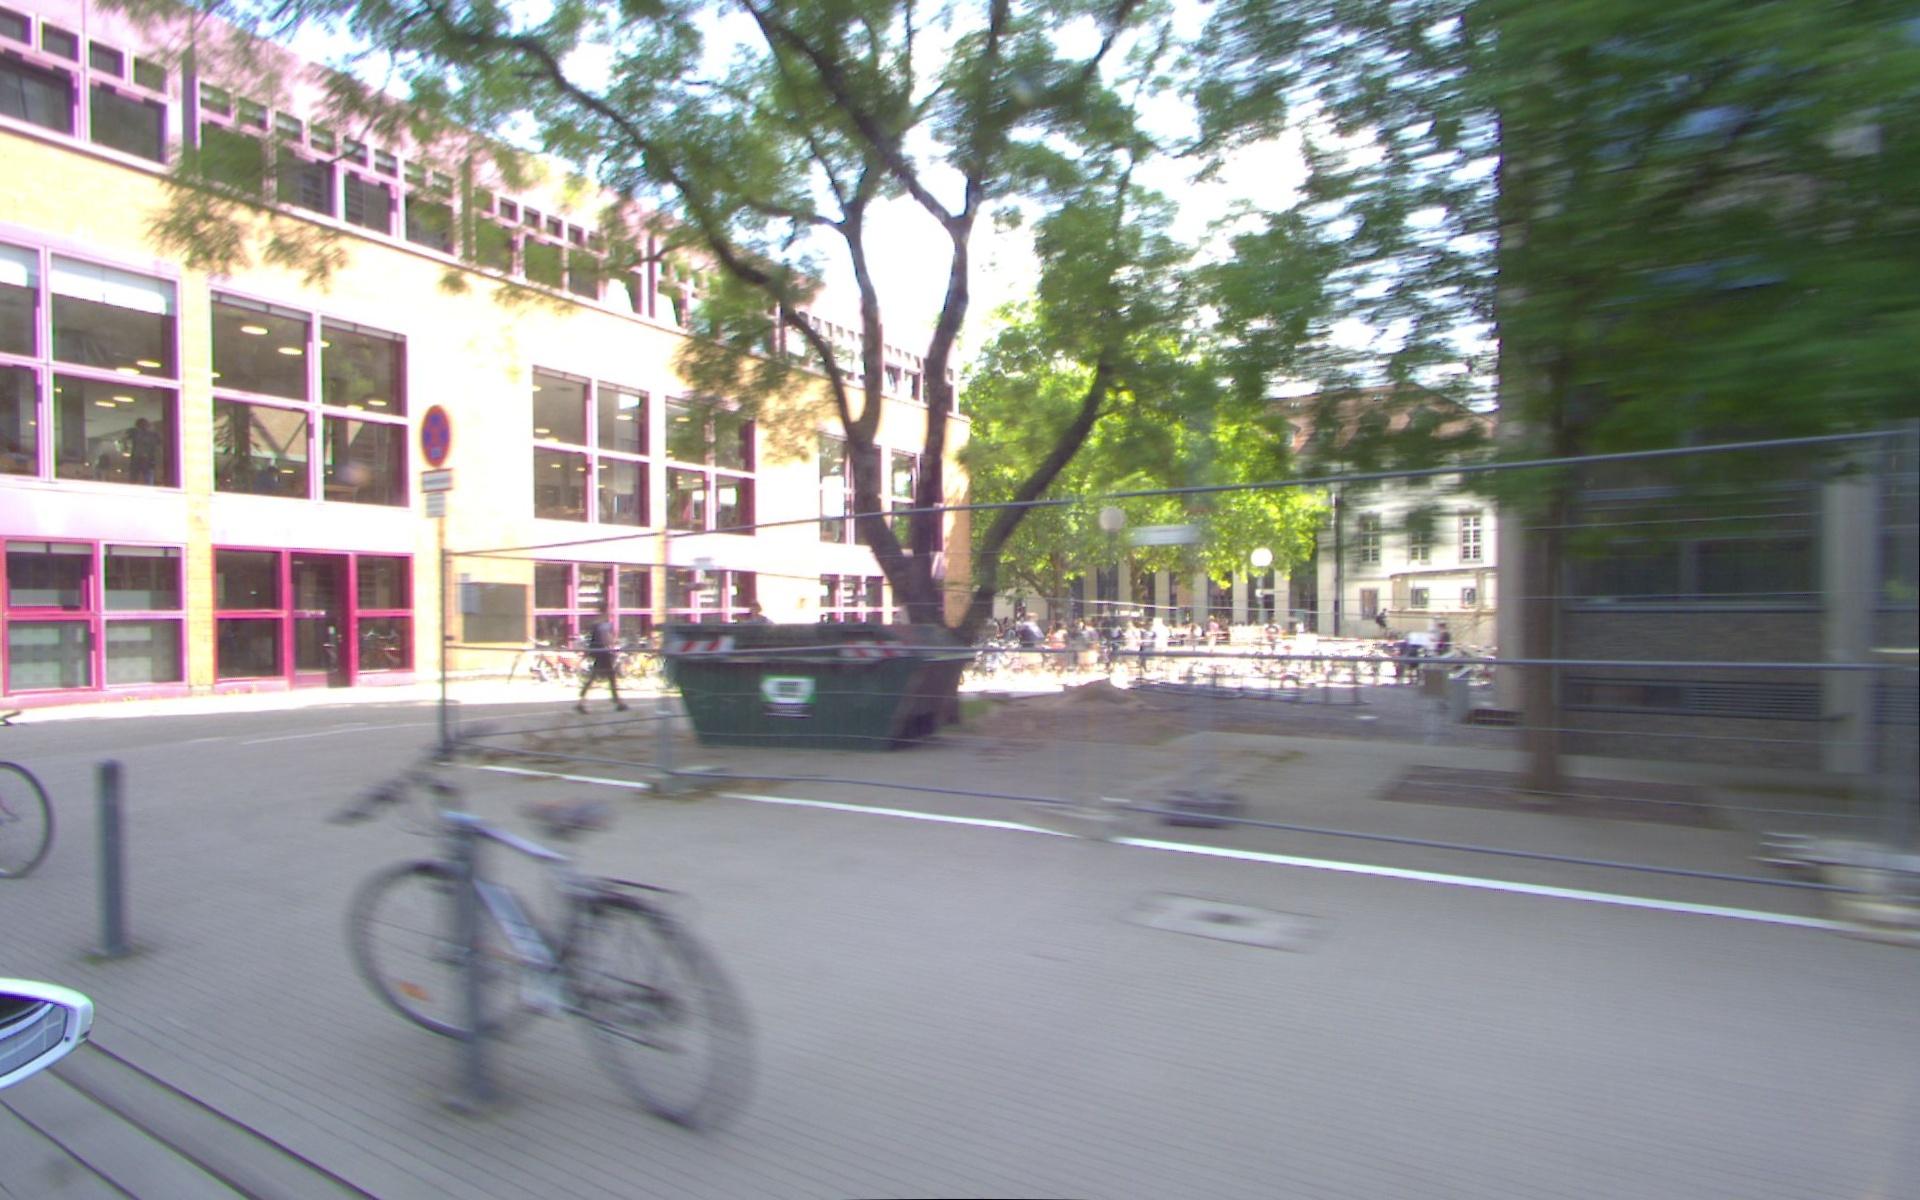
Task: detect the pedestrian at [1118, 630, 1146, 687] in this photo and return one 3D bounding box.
[{"bbox_3d":[5.389,1.815,31.344,0.673,1.750,0.903,-2,-2,19],"label":"pedestrian"}]

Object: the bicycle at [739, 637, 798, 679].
[{"bbox_3d":[-5.621,1.715,29.514,0.467,1.183,1.995,0,-3,30],"label":"bicycle"}]

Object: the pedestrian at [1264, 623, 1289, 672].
[{"bbox_3d":[11.536,1.726,36.481,0.674,1.750,0.901,-3,-2,27],"label":"pedestrian"}]

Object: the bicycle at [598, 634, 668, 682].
[{"bbox_3d":[-7.859,1.391,24.156,0.466,1.124,1.807,0,-3,26],"label":"bicycle"}]

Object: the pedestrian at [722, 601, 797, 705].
[{"bbox_3d":[-3.344,0.879,16.741,0.695,1.672,1.040,-1,-2,39],"label":"pedestrian"}]

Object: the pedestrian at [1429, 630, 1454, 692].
[{"bbox_3d":[13.002,1.642,27.018,0.555,1.633,0.530,0,-2,33],"label":"pedestrian"}]

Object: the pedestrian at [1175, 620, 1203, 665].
[{"bbox_3d":[9.459,1.765,41.392,0.673,1.845,0.902,-1,-2,-23],"label":"pedestrian"}]

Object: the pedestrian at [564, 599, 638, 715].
[{"bbox_3d":[-5.335,0.841,14.895,0.581,1.672,0.849,-1,-2,39],"label":"pedestrian"}]

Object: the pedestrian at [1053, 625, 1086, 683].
[{"bbox_3d":[3.346,1.639,30.603,0.674,1.750,0.901,-3,-2,27],"label":"pedestrian"}]

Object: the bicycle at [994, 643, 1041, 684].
[{"bbox_3d":[1.755,1.901,30.050,0.537,1.183,1.995,0,-3,31],"label":"bicycle"}]

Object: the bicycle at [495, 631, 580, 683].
[{"bbox_3d":[-9.541,1.282,22.689,0.516,1.124,1.808,0,-3,30],"label":"bicycle"}]

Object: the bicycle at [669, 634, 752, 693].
[{"bbox_3d":[-4.928,1.248,19.886,0.468,1.124,1.690,-1,-3,35],"label":"bicycle"}]

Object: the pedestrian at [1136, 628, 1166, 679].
[{"bbox_3d":[6.675,1.863,34.978,0.675,1.750,0.900,-3,-2,31],"label":"pedestrian"}]

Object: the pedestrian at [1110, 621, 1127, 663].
[{"bbox_3d":[7.174,1.913,45.192,0.672,1.846,0.905,-2,-2,10],"label":"pedestrian"}]

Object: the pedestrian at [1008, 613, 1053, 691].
[{"bbox_3d":[1.638,1.204,23.176,0.674,1.750,0.901,-3,-2,27],"label":"pedestrian"}]

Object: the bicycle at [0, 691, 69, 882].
[{"bbox_3d":[-5.927,1.054,5.945,1.715,0.975,0.449,-1,1,32],"label":"bicycle"}]

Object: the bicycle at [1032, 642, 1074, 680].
[{"bbox_3d":[2.988,1.948,31.985,0.537,1.183,1.995,0,-3,31],"label":"bicycle"}]

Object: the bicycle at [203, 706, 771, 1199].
[{"bbox_3d":[-1.458,0.933,3.002,1.723,1.107,0.707,-1,-1,31],"label":"bicycle"}]

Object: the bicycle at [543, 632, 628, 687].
[{"bbox_3d":[-8.022,1.276,21.533,0.516,1.124,1.809,0,-3,29],"label":"bicycle"}]

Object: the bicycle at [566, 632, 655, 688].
[{"bbox_3d":[-7.326,1.253,21.069,0.517,1.124,1.805,-1,-3,35],"label":"bicycle"}]

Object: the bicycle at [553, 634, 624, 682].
[{"bbox_3d":[-9.165,1.429,24.794,0.466,1.124,1.807,0,-3,26],"label":"bicycle"}]

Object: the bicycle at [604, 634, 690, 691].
[{"bbox_3d":[-6.458,1.279,20.754,0.516,1.124,1.807,0,-3,31],"label":"bicycle"}]

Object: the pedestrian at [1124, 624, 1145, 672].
[{"bbox_3d":[6.499,1.771,37.286,0.672,1.750,0.904,1,-1,13],"label":"pedestrian"}]

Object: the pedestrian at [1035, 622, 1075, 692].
[{"bbox_3d":[2.414,1.438,25.417,0.674,1.750,0.901,-3,-2,27],"label":"pedestrian"}]

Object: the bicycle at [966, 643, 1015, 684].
[{"bbox_3d":[0.933,1.907,30.019,0.537,1.183,1.995,0,-3,31],"label":"bicycle"}]

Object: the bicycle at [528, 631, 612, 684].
[{"bbox_3d":[-8.719,1.282,22.438,0.516,1.124,1.807,0,-3,31],"label":"bicycle"}]

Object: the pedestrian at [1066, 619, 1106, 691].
[{"bbox_3d":[3.164,1.367,25.092,0.674,1.750,0.901,-3,-2,27],"label":"pedestrian"}]

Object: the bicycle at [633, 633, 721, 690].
[{"bbox_3d":[-5.797,1.261,20.585,0.517,1.124,1.805,-1,-3,35],"label":"bicycle"}]

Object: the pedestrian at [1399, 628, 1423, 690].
[{"bbox_3d":[12.228,1.592,27.148,0.525,1.651,0.560,0,-2,33],"label":"pedestrian"}]

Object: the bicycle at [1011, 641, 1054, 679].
[{"bbox_3d":[2.342,1.940,32.244,0.537,1.183,1.995,0,-3,31],"label":"bicycle"}]

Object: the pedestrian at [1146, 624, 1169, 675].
[{"bbox_3d":[7.360,1.846,37.288,0.671,1.846,0.905,-2,-2,5],"label":"pedestrian"}]
